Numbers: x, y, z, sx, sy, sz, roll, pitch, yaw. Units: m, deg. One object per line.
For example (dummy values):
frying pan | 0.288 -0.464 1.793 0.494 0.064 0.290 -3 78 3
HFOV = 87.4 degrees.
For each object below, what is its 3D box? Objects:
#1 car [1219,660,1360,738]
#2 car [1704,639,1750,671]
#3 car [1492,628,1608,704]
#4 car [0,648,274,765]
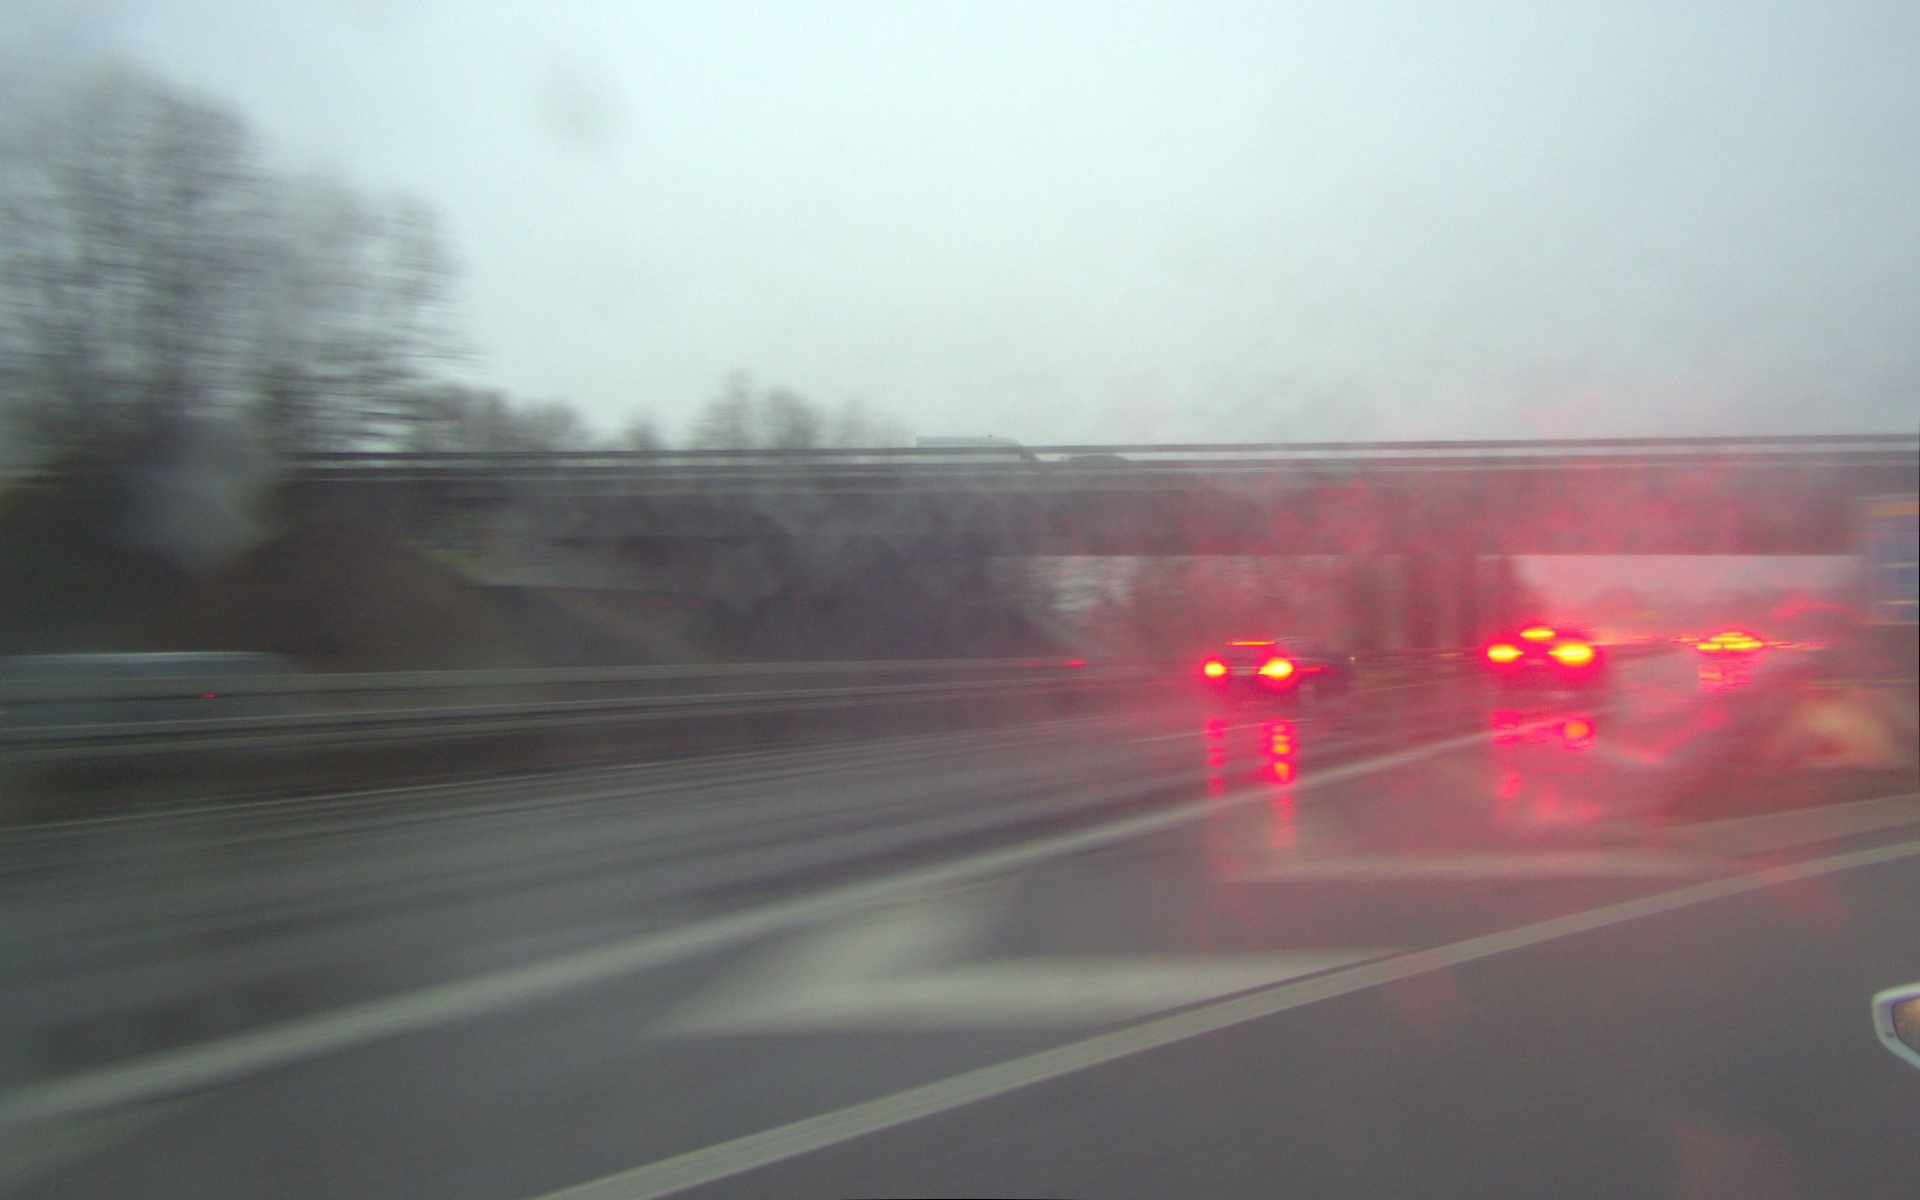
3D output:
car | 7.413 2.107 22.326 1.774 1.487 4.400 -2 -3 35
car | 44.250 3.149 58.021 1.853 1.639 3.863 -2 -1 34
car | 14.524 1.589 24.637 1.969 1.686 3.985 -4 -4 37
car | -13.388 1.578 15.657 1.735 1.590 4.169 -1 -2 43
